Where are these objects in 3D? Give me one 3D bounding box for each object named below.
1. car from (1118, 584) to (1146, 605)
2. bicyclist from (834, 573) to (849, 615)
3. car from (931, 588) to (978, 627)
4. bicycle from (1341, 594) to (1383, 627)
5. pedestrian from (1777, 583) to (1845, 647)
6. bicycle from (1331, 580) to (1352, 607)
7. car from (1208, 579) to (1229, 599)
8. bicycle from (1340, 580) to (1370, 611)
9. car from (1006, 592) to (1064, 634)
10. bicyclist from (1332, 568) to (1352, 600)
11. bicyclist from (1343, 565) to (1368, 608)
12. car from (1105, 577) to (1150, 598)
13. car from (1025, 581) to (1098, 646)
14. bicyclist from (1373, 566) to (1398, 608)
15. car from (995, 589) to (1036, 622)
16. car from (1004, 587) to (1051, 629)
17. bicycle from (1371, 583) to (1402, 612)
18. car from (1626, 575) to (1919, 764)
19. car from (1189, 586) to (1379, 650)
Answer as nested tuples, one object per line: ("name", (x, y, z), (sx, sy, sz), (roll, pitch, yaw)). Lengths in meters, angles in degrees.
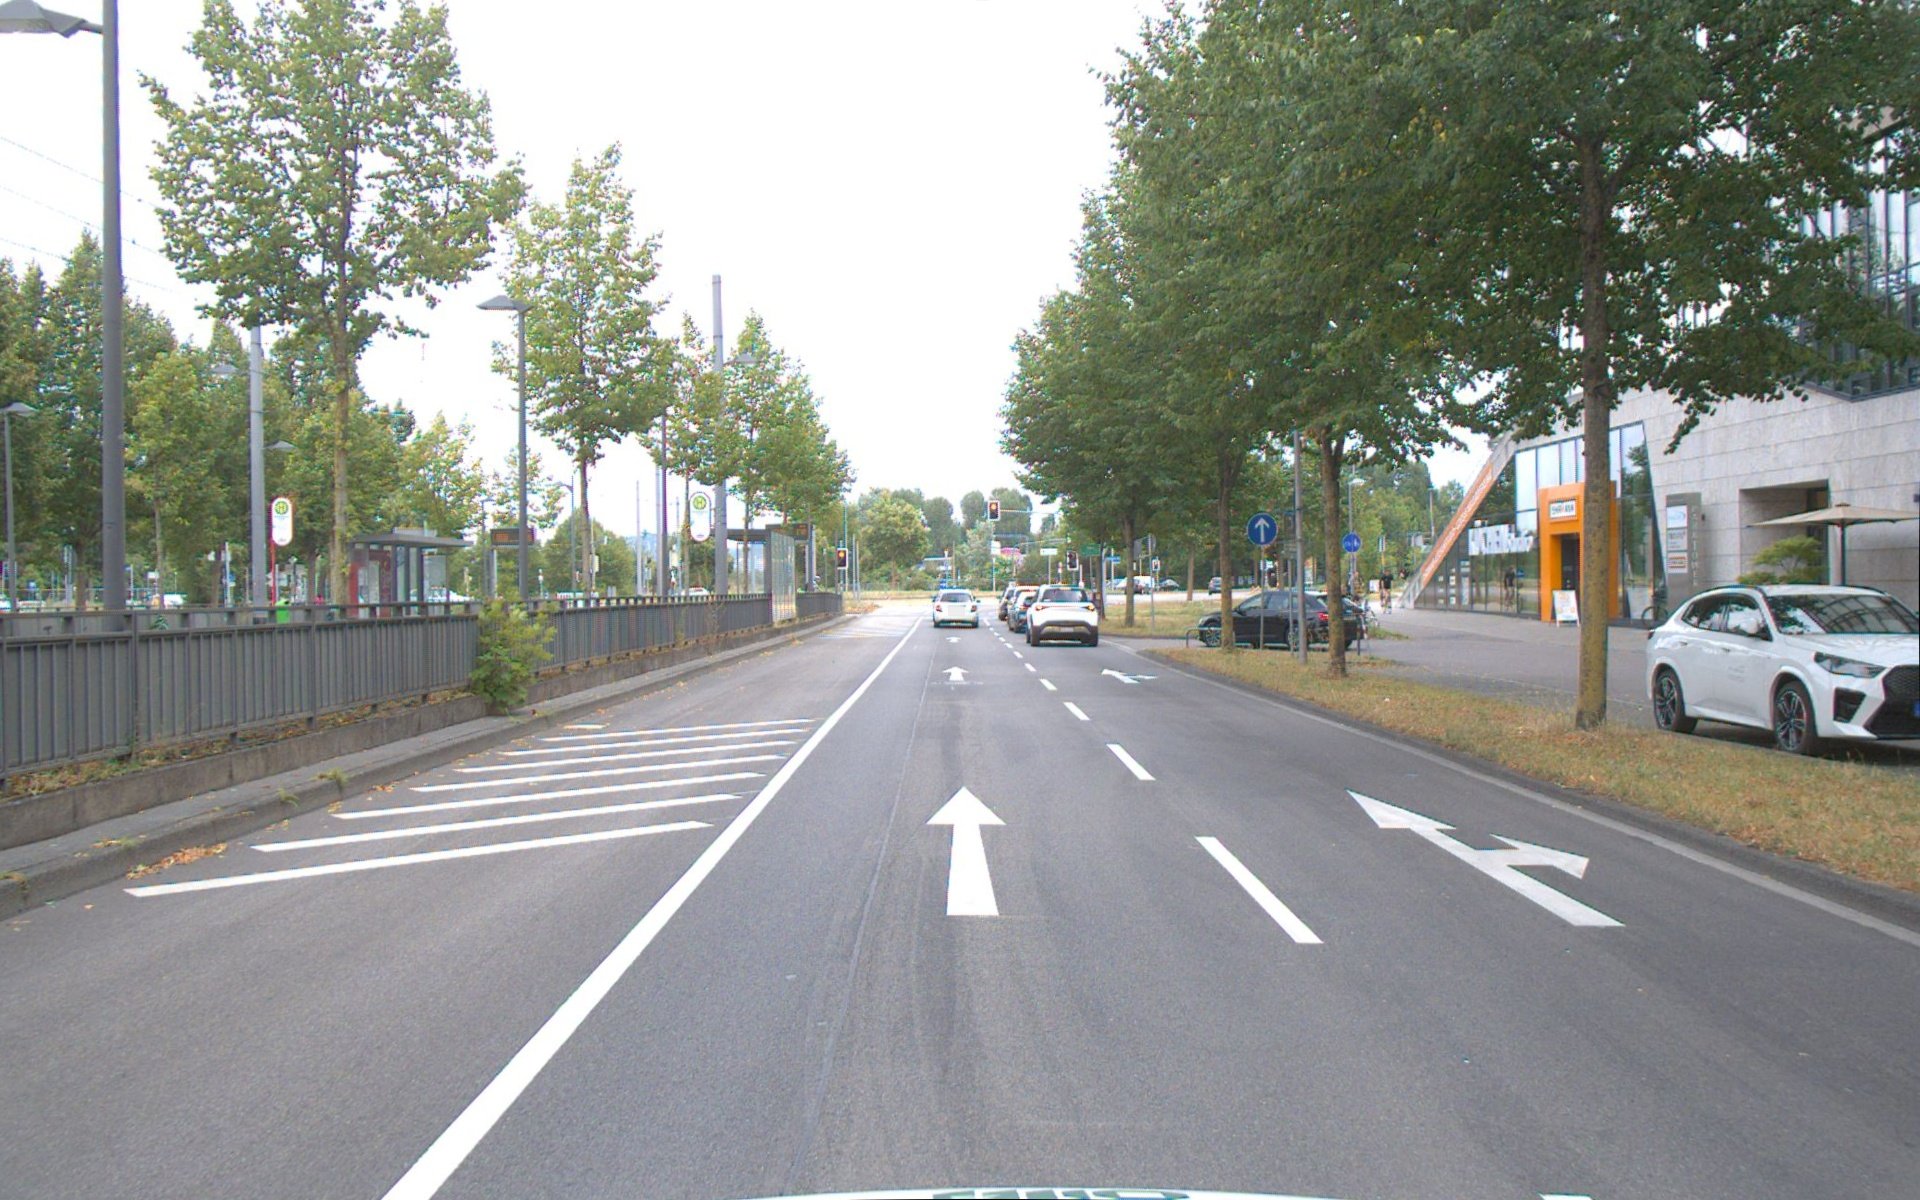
("car", (15.483, -0.516, 149.026), (1.954, 1.822, 3.997), (1, 0, -3))
("bicyclist", (-5.706, -0.309, 79.650), (0.714, 1.915, 0.735), (-1, 10, -4))
("car", (-0.245, 0.259, 64.887), (1.738, 1.474, 3.909), (0, 0, -2))
("bicycle", (12.382, 0.310, 51.036), (0.617, 0.972, 2.106), (-1, 0, -5))
("pedestrian", (16.859, 0.289, 32.787), (0.879, 1.250, 0.951), (-1, 0, 4))
("bicycle", (22.222, -0.388, 96.381), (0.691, 1.532, 2.006), (-1, 0, -3))
("car", (22.489, -0.962, 143.904), (1.745, 1.664, 4.406), (-1, 0, 9))
("bicycle", (15.245, -0.177, 63.897), (0.659, 1.163, 2.007), (-1, 0, 0))
("car", (2.686, 0.439, 60.149), (1.751, 1.457, 4.309), (-1, 0, -2))
("bicyclist", (22.284, -0.939, 96.401), (0.849, 1.820, 1.174), (-1, 0, -1))
("bicyclist", (15.233, -0.524, 63.769), (0.710, 1.610, 0.989), (-1, 0, -1))
("car", (17.476, -1.330, 172.556), (4.961, 2.049, 1.968), (-1, 1, -44))
("car", (2.765, 0.341, 45.647), (1.742, 1.685, 4.023), (-1, 0, 0))
("bicyclist", (16.507, -0.501, 64.199), (0.710, 1.610, 0.990), (-1, 0, 0))
("car", (2.514, 0.231, 75.826), (1.592, 1.474, 3.909), (0, 0, -2))
("car", (2.770, 0.298, 68.225), (1.751, 1.653, 3.910), (-1, 0, 0))
("bicycle", (16.523, -0.102, 64.081), (0.659, 1.060, 2.007), (-1, 0, 0))
("car", (8.482, 0.554, 16.303), (1.899, 1.579, 4.592), (-1, 1, -1))
("car", (8.208, 0.440, 42.325), (1.925, 1.501, 4.811), (-1, 0, -35))
